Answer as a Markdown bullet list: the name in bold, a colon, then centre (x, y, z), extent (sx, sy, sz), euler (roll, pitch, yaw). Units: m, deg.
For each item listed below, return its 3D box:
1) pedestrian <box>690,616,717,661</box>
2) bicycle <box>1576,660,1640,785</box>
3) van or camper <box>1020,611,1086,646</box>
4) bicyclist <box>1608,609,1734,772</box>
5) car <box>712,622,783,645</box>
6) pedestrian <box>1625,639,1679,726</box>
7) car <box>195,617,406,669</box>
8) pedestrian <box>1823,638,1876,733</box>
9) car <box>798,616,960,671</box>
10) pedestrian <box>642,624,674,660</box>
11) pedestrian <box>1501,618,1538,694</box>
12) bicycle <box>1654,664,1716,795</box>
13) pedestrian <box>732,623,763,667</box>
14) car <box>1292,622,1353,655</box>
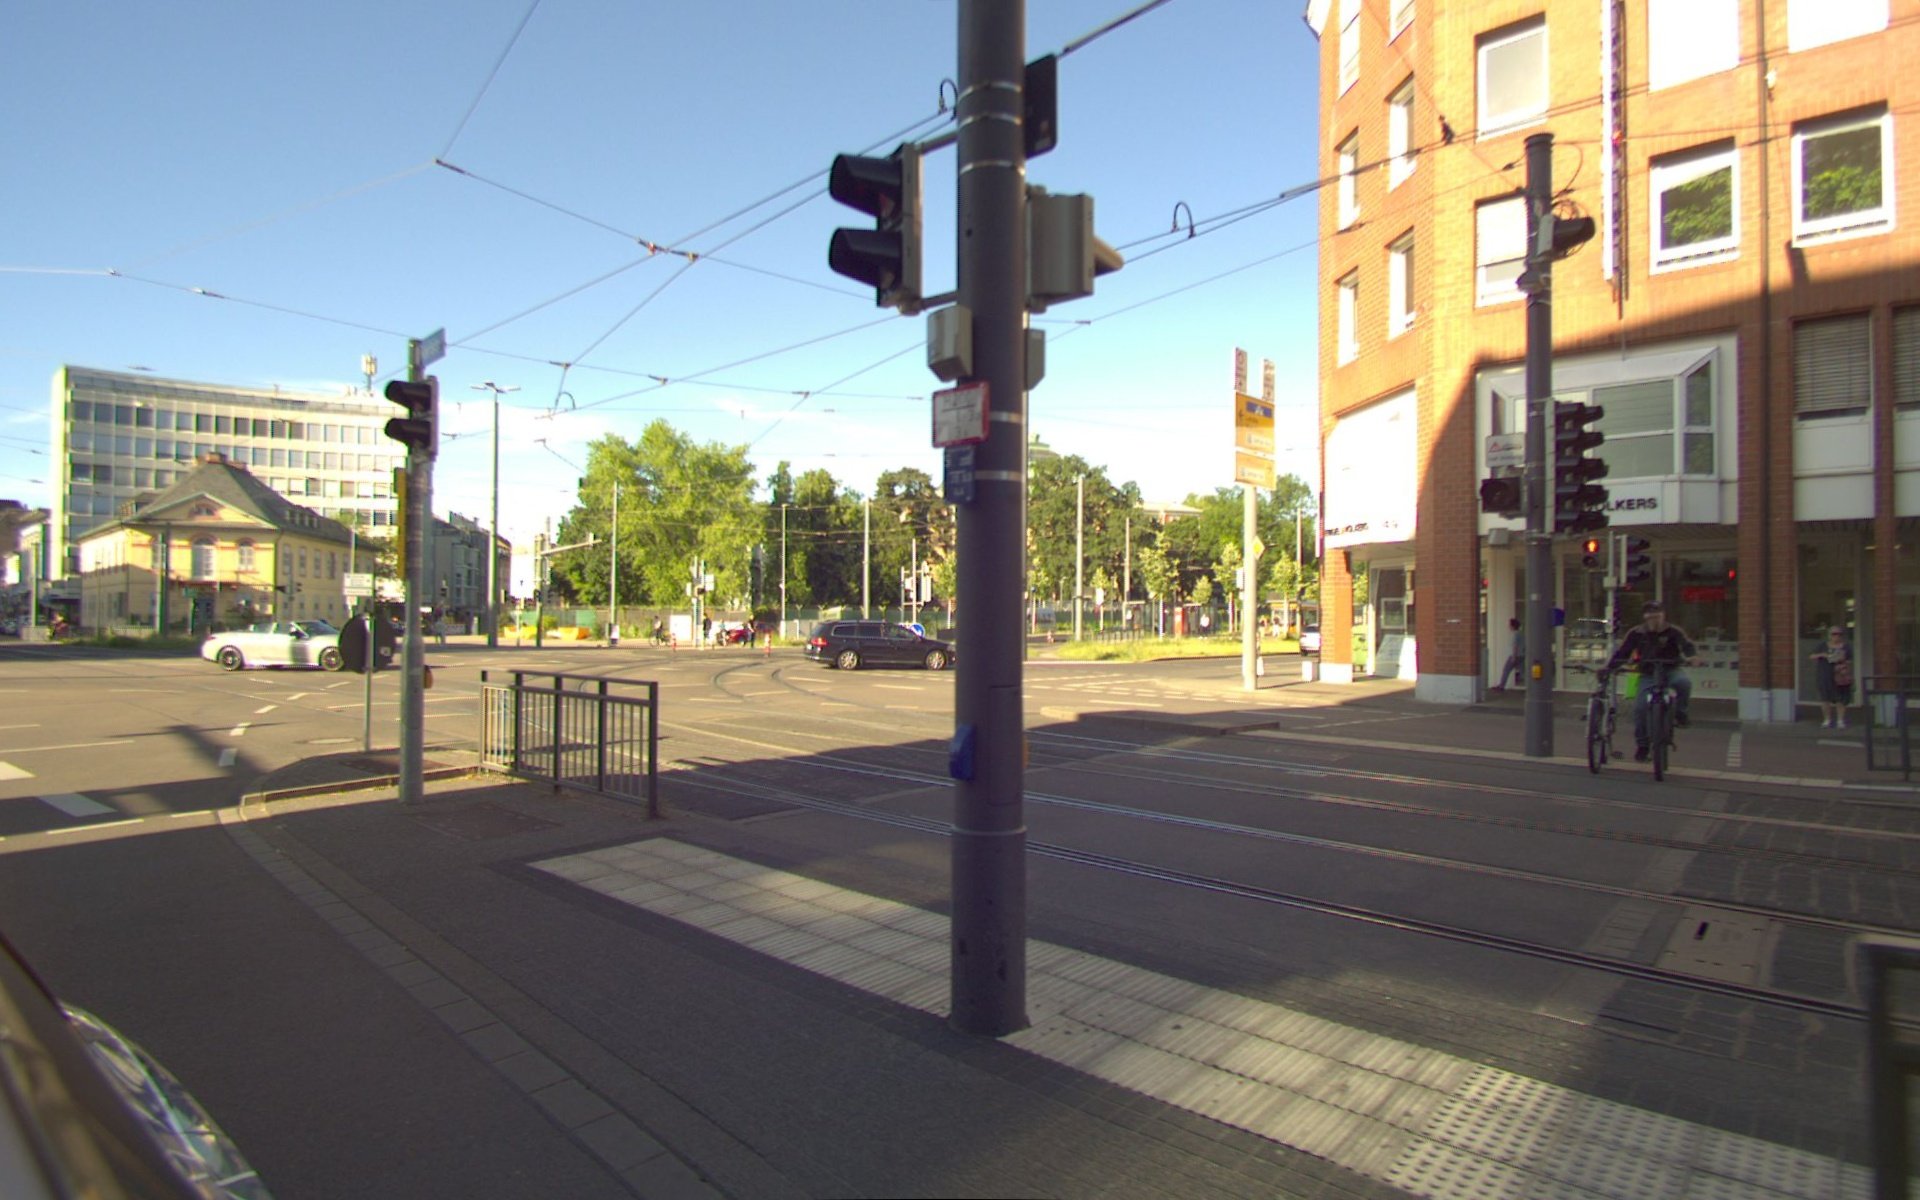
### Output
- **pedestrian**: centre (-11.969, 1.771, 47.227), extent (1.092, 2.029, 1.217), euler (-1, 0, -18)
- **bicycle**: centre (6.166, 1.115, 9.611), extent (0.417, 1.041, 1.573), euler (-1, -2, 36)
- **van or camper**: centre (5.653, 1.692, 61.307), extent (2.000, 2.029, 3.943), euler (-1, 0, 44)
- **bicyclist**: centre (6.482, 0.787, 9.239), extent (0.900, 1.391, 0.741), euler (-1, -2, 37)
- **car**: centre (-12.956, 2.050, 61.967), extent (1.926, 1.369, 4.076), euler (-1, -2, 35)
- **pedestrian**: centre (11.787, 1.394, 17.252), extent (0.580, 1.428, 0.606), euler (0, -1, 17)
- **car**: centre (-18.194, 1.162, 28.060), extent (4.632, 1.369, 1.998), euler (0, -1, 4)
- **pedestrian**: centre (13.808, 1.305, 15.719), extent (0.580, 1.429, 0.514), euler (-1, -2, 39)
- **car**: centre (-2.436, 1.281, 30.238), extent (4.457, 1.548, 2.006), euler (1, -1, -19)
- **pedestrian**: centre (-17.944, 2.502, 60.124), extent (1.507, 2.029, 1.665), euler (-1, 0, -28)
- **pedestrian**: centre (12.090, 1.185, 21.869), extent (0.671, 1.603, 0.818), euler (-1, -2, 31)
- **bicycle**: centre (6.577, 1.123, 9.183), extent (0.417, 1.029, 1.573), euler (-1, -2, 36)
- **pedestrian**: centre (-10.207, 2.152, 48.684), extent (1.422, 2.029, 1.182), euler (-1, 0, -12)
- **car**: centre (17.613, 1.847, 49.099), extent (1.994, 1.530, 3.956), euler (-1, -2, 32)
